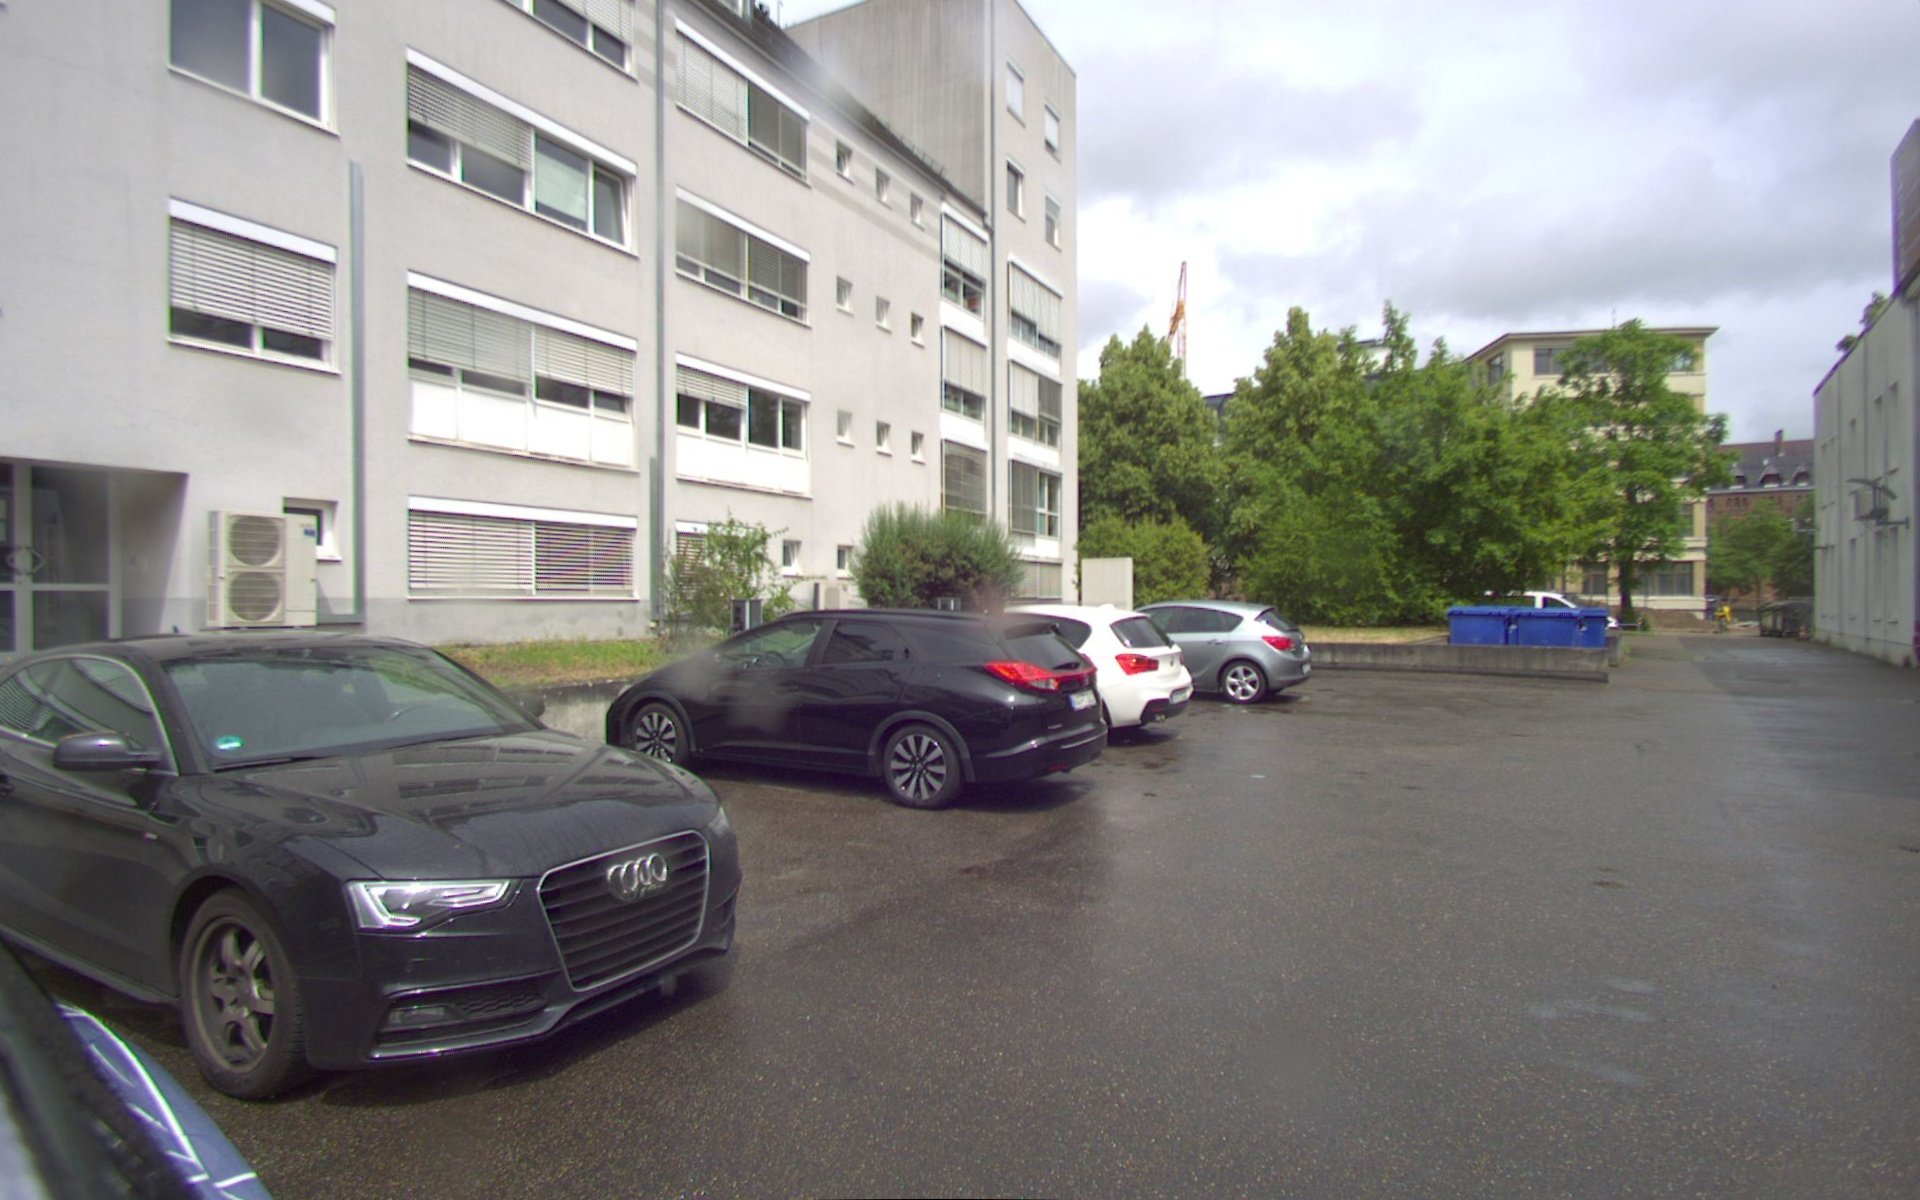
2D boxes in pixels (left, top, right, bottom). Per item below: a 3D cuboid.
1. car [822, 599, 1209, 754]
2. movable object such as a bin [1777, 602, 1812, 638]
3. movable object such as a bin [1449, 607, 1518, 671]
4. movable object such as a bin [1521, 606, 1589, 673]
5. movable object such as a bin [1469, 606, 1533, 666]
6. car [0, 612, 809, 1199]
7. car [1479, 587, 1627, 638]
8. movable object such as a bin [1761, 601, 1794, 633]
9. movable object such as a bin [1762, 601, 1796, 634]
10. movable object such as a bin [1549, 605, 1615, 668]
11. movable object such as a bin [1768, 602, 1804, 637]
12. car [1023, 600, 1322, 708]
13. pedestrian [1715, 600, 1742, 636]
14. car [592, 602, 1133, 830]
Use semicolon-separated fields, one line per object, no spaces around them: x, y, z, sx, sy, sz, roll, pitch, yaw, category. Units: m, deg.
0.575;0.738;11.526;4.108;1.453;1.679;0;1;30;car
32.322;0.778;39.199;0.977;1.366;0.908;-1;0;37;movable object such as a bin
11.439;0.835;22.101;1.129;1.338;1.193;-1;0;37;movable object such as a bin
12.559;0.819;21.351;1.094;1.335;1.193;-1;0;37;movable object such as a bin
12.515;0.815;23.414;1.129;1.338;1.193;-1;0;37;movable object such as a bin
-2.980;0.779;4.369;4.509;1.362;1.746;0;1;29;car
21.056;0.446;36.017;4.330;1.740;1.700;-1;0;39;car
35.649;0.741;44.152;1.065;1.366;1.249;-1;0;37;movable object such as a bin
34.843;0.756;43.063;1.065;1.366;1.249;-1;0;37;movable object such as a bin
13.877;0.803;22.571;1.129;1.338;1.193;-1;0;37;movable object such as a bin
33.246;0.785;40.742;1.044;1.366;1.192;-1;0;37;movable object such as a bin
3.294;0.745;15.853;4.296;1.453;1.746;0;1;28;car
40.731;0.950;53.644;0.854;1.827;0.858;-1;0;21;pedestrian
-0.878;0.771;8.488;4.295;1.453;1.747;0;1;28;car
